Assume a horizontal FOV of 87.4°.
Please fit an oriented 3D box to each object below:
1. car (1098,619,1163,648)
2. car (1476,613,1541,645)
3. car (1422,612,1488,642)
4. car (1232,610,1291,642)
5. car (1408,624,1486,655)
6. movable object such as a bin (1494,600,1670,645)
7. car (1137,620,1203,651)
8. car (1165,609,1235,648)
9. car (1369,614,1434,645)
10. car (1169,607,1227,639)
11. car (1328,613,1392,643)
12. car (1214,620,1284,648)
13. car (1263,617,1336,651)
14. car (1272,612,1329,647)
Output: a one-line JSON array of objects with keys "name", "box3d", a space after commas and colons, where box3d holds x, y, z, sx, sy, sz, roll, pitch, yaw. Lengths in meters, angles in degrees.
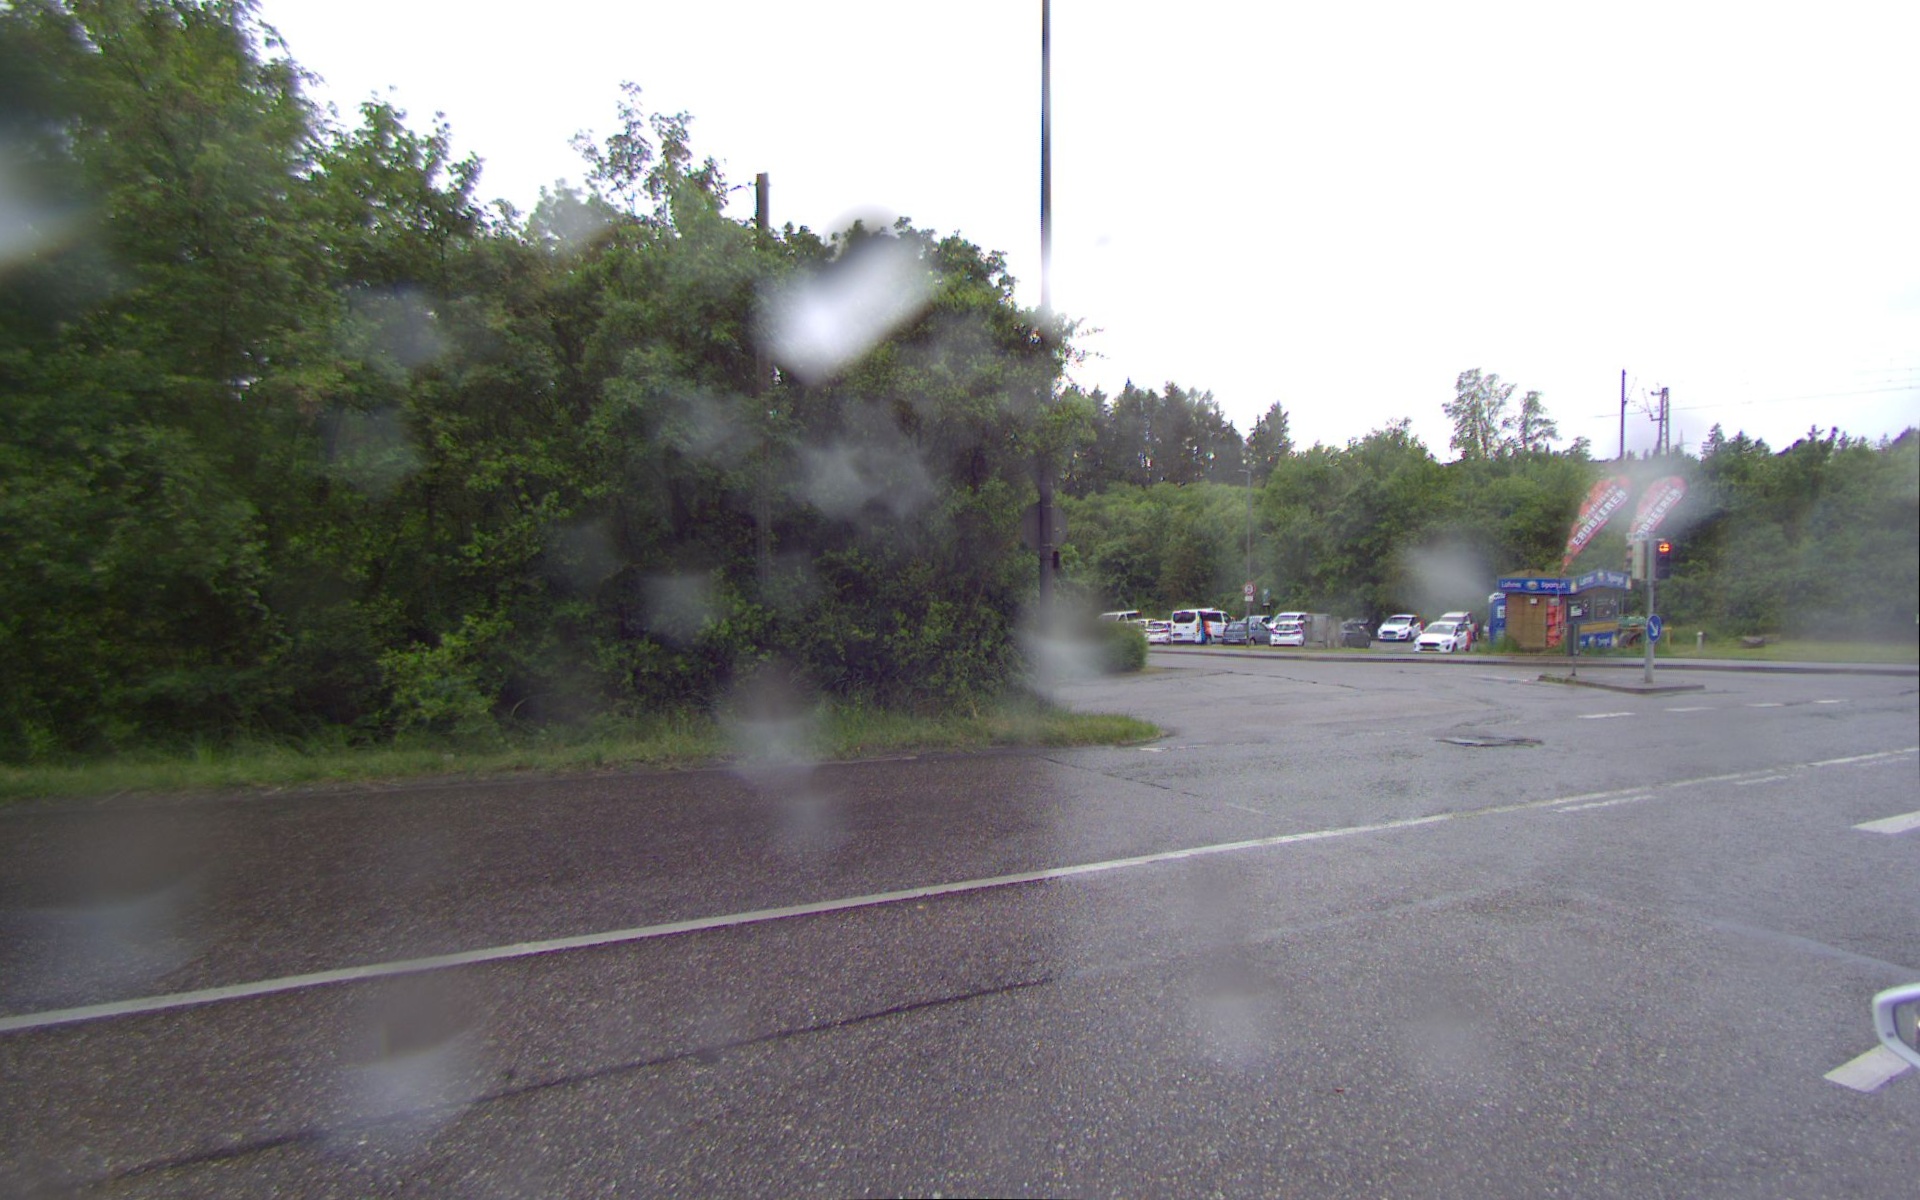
[{"name": "car", "box3d": [9.878, 1.952, 58.099, 1.813, 1.606, 3.978, 1, -1, 42]}, {"name": "car", "box3d": [29.547, 1.554, 54.061, 3.972, 1.606, 1.975, 2, -2, -43]}, {"name": "car", "box3d": [27.253, 1.486, 55.244, 3.972, 1.606, 1.975, 2, -2, -43]}, {"name": "car", "box3d": [19.449, 1.681, 64.662, 3.973, 2.040, 1.974, 2, -2, -44]}, {"name": "car", "box3d": [22.643, 1.851, 46.606, 4.868, 1.358, 1.636, 3, -1, -43]}, {"name": "movable object such as a bin", "box3d": [26.050, 0.952, 42.342, 5.663, 1.649, 2.753, 2, -1, 10]}, {"name": "car", "box3d": [11.793, 1.975, 56.203, 1.834, 1.606, 3.978, 1, -1, 42]}, {"name": "car", "box3d": [13.017, 1.537, 54.266, 1.971, 1.974, 3.978, 1, -1, 42]}, {"name": "car", "box3d": [25.128, 1.684, 57.152, 3.972, 1.606, 1.975, 3, -1, -43]}, {"name": "car", "box3d": [16.104, 1.555, 67.845, 3.973, 2.040, 1.974, 2, -1, -44]}, {"name": "car", "box3d": [23.597, 1.659, 59.235, 3.972, 1.606, 1.975, 3, -1, -43]}, {"name": "car", "box3d": [15.278, 1.813, 53.017, 3.972, 1.327, 1.734, 3, -1, -43]}, {"name": "car", "box3d": [17.355, 1.726, 51.346, 3.880, 1.606, 1.918, 3, -1, -43]}, {"name": "car", "box3d": [21.319, 1.810, 62.780, 1.916, 2.040, 3.846, 1, 0, 43]}]
